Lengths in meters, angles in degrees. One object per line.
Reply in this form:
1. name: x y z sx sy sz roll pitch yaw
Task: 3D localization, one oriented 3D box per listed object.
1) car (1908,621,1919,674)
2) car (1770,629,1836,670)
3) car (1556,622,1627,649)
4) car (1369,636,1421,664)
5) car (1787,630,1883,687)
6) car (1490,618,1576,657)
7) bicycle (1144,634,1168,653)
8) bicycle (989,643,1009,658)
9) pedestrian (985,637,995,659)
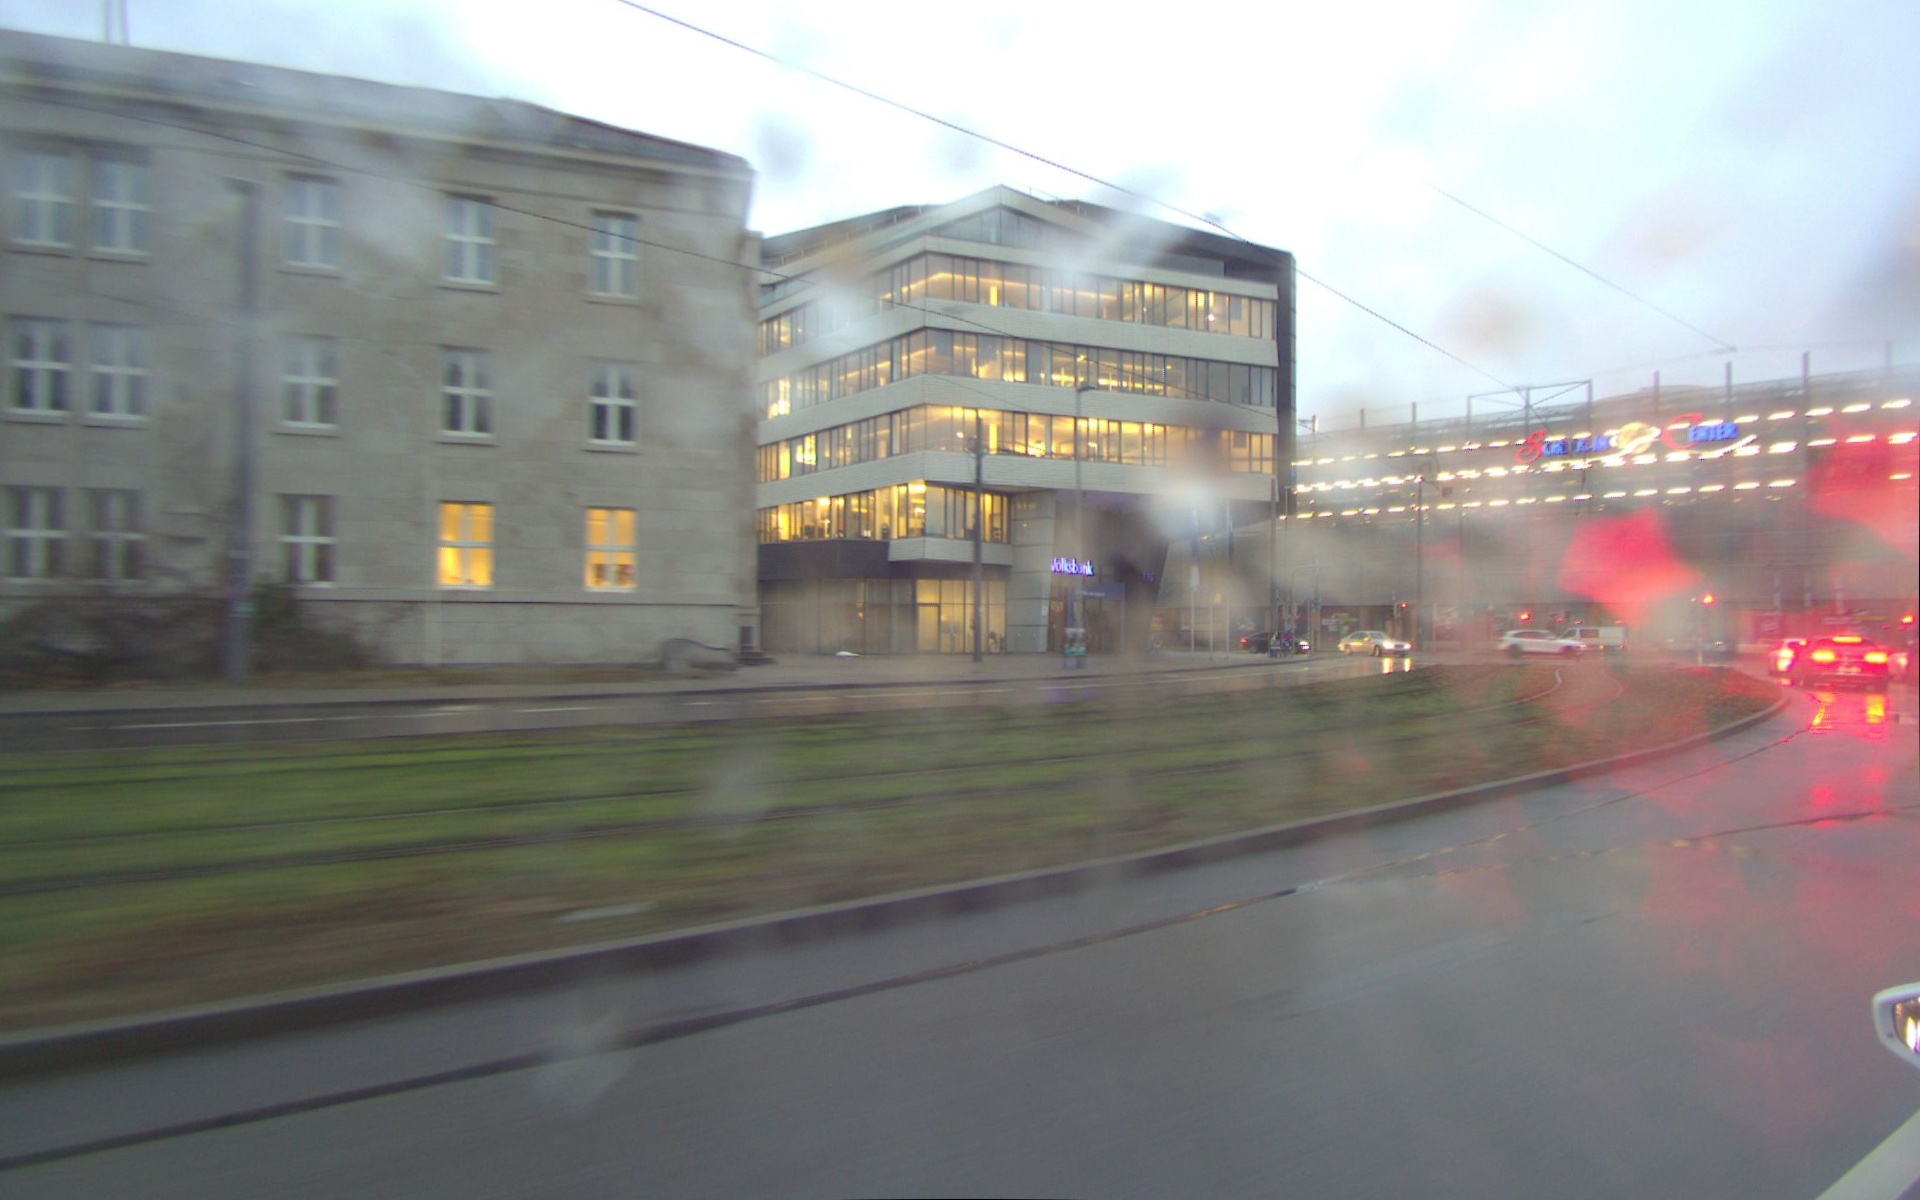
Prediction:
1. car: 31.816 1.534 32.117 1.614 1.719 3.660 1 -1 34
2. car: 32.638 1.896 38.932 1.862 1.505 3.982 -1 -2 40
3. car: 54.167 3.016 86.226 5.008 1.988 1.885 2 0 34
4. car: 25.213 2.869 58.137 1.797 1.454 4.639 2 0 36
5. car: 26.499 1.726 30.536 1.729 1.594 3.988 -1 -2 35
6. car: 33.967 2.179 59.566 4.293 2.040 1.995 2 0 32
7. bicycle: 11.491 2.519 58.817 1.600 1.104 0.549 2 -2 -44
8. bicycle: 1.926 2.480 49.642 0.902 0.724 0.480 1 -2 -31
9. pedestrian: 1.476 2.360 49.626 0.381 1.103 0.324 1 -1 -16
